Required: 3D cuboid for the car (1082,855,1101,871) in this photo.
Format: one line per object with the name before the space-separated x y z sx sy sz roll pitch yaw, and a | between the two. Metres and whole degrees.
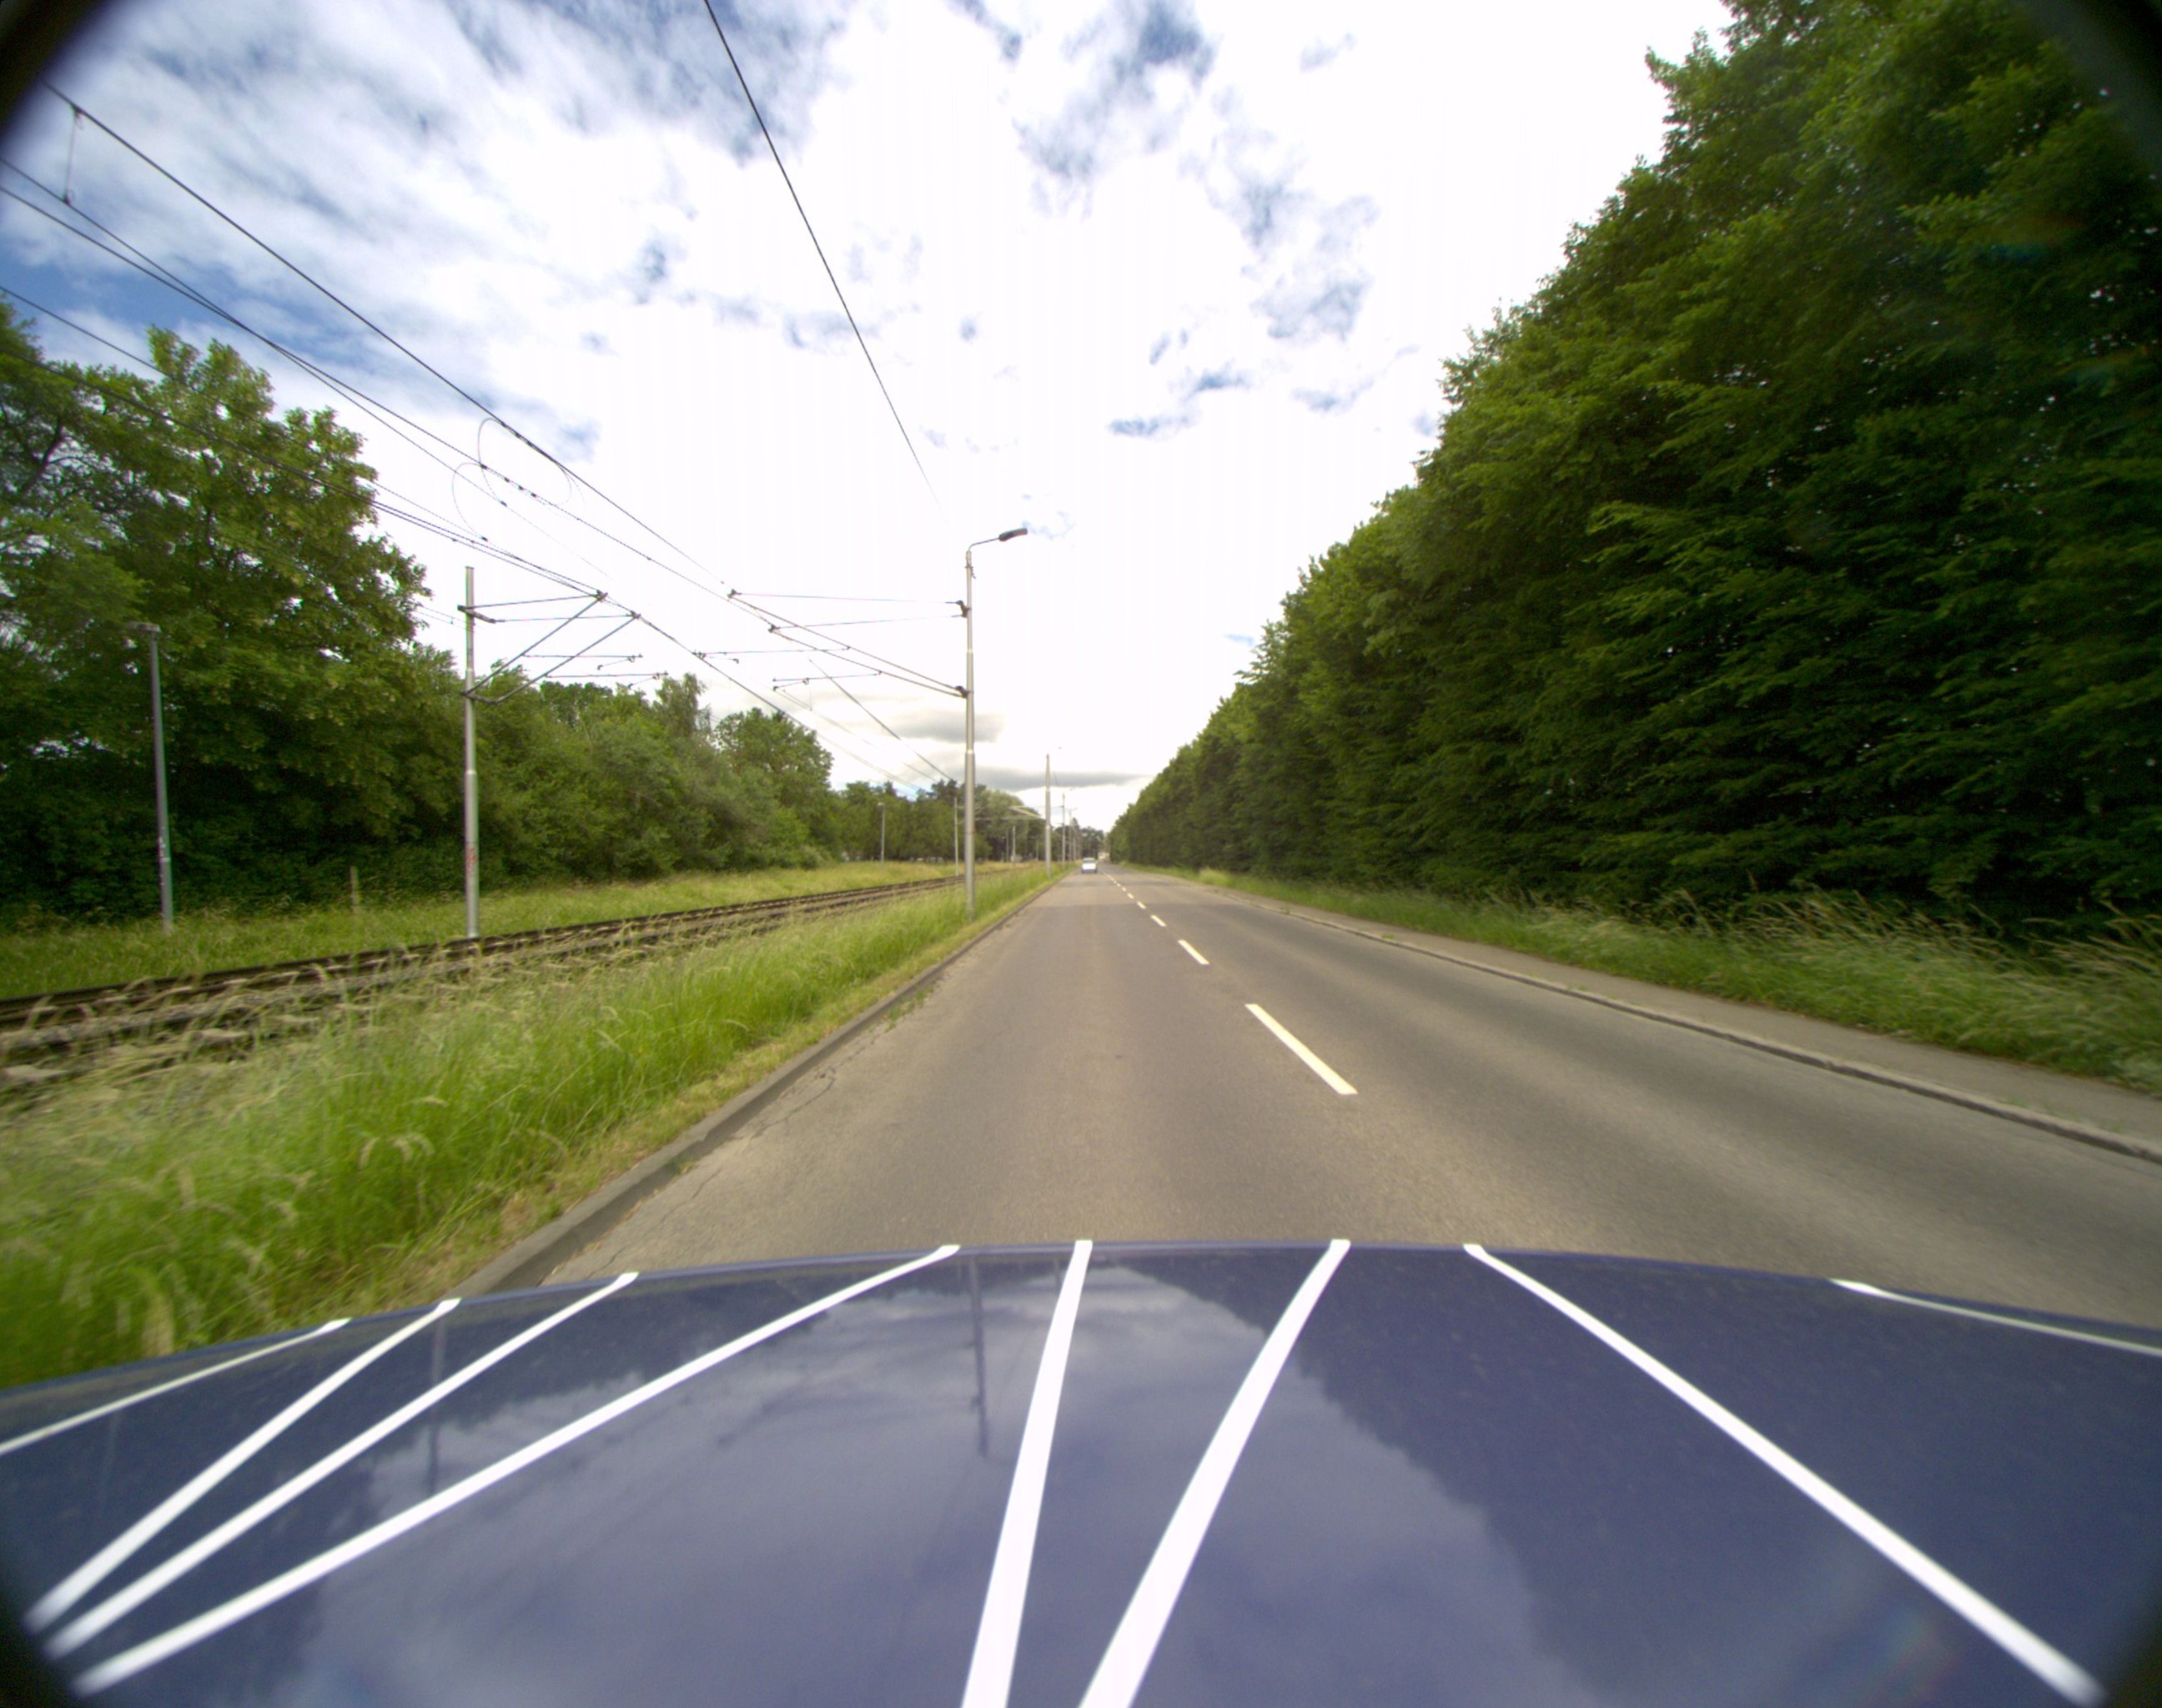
car | 1.107 0.945 83.581 1.999 1.679 4.000 -1 0 0
